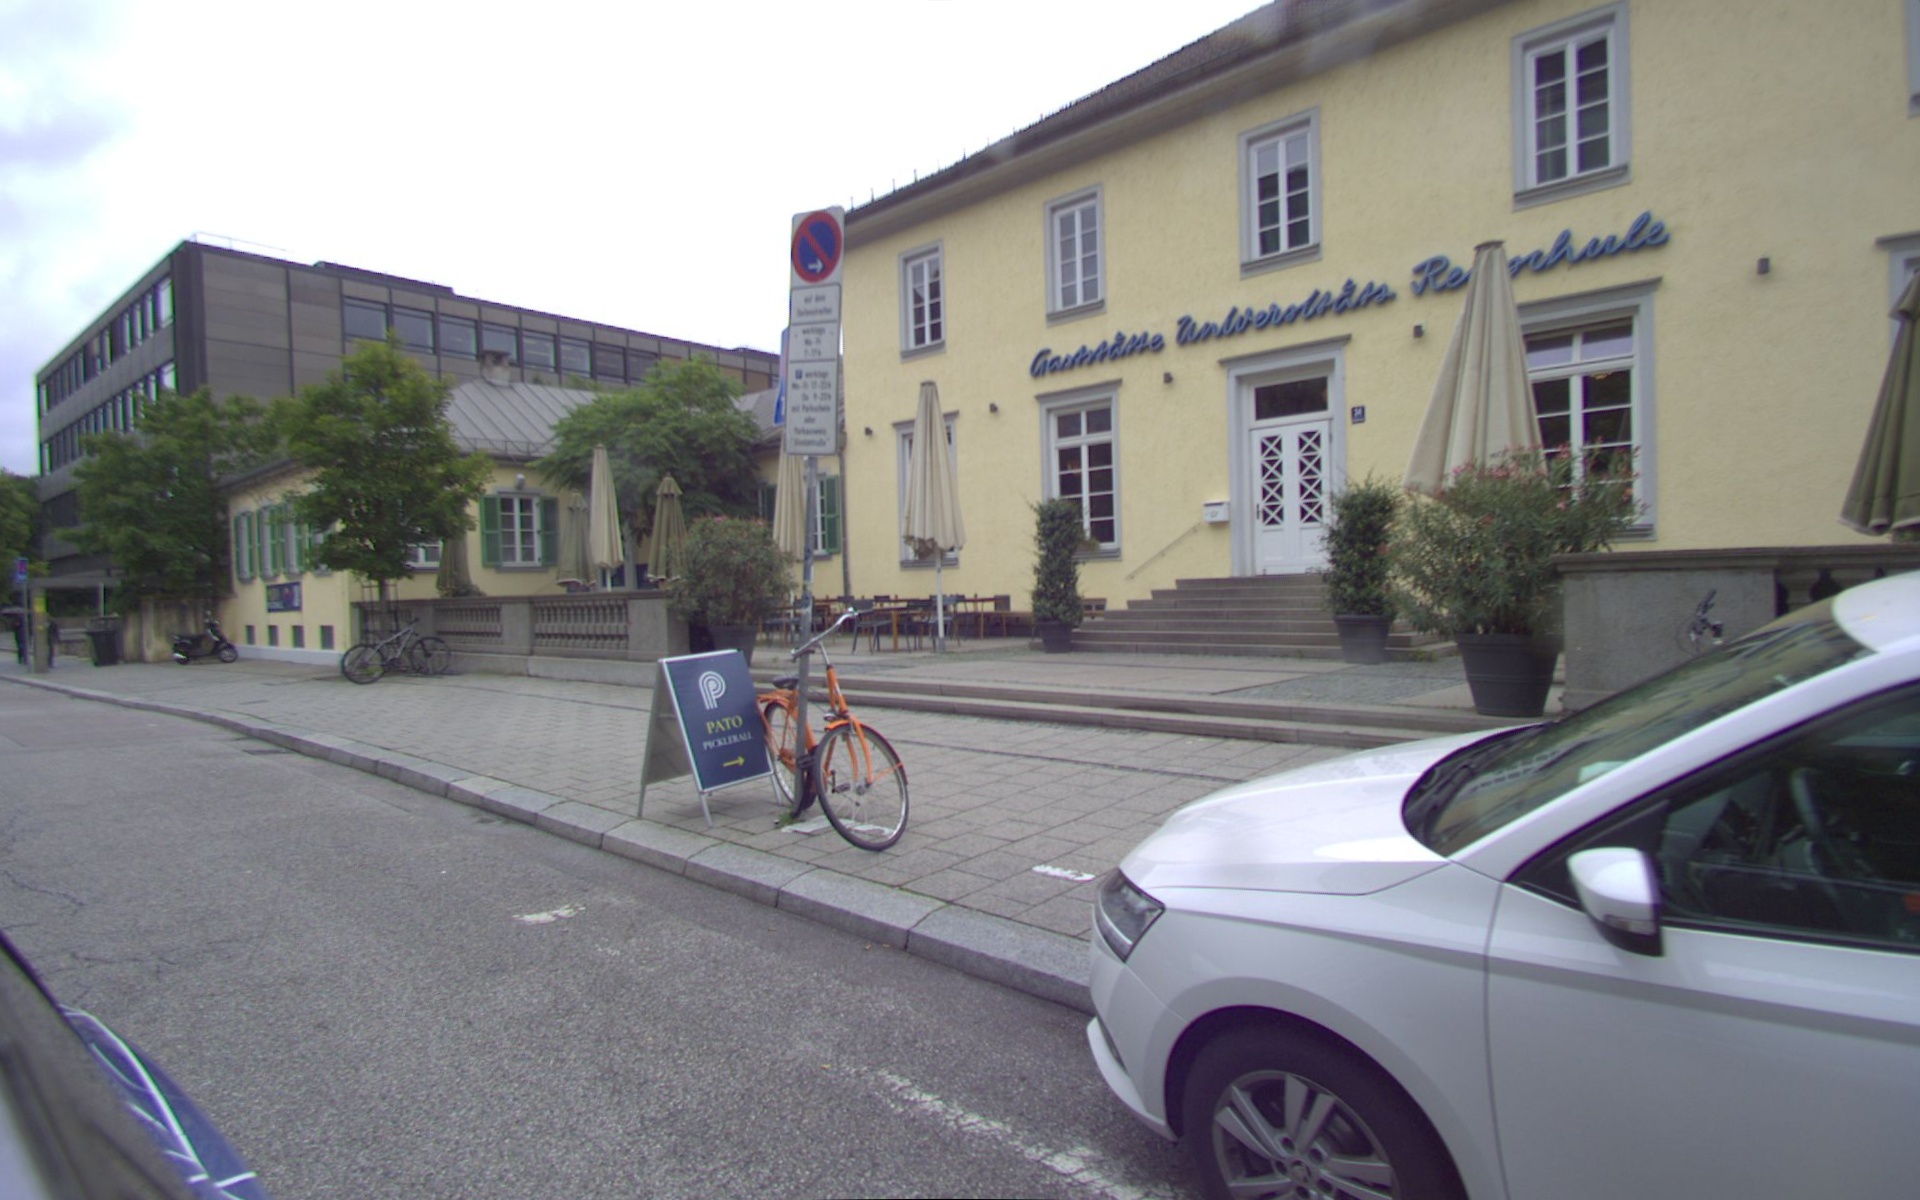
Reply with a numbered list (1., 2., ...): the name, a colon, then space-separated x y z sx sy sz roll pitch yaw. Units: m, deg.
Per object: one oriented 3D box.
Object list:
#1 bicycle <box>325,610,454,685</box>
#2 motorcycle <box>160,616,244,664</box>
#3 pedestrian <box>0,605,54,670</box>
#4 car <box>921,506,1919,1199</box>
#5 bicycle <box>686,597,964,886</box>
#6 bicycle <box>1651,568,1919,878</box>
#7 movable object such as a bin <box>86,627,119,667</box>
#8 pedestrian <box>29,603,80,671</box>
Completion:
1. bicycle: -10.030 0.808 17.855 0.466 1.041 1.824 -2 5 42
2. motorcycle: -20.273 1.071 27.086 1.642 1.120 0.591 -4 3 -6
3. pedestrian: -31.573 1.245 33.933 1.499 2.028 1.461 -1 2 39
4. car: 2.126 0.578 1.693 4.462 1.503 1.706 -1 2 44
5. bicycle: -0.832 0.700 5.825 0.769 1.379 1.698 -2 1 -39
6. bicycle: 4.171 0.496 4.928 0.563 1.271 1.567 -2 0 4
7. movable object such as a bin: -24.852 1.354 29.327 0.459 1.117 0.607 -1 2 39
8. pedestrian: -28.348 1.153 31.683 0.913 2.028 0.965 -1 2 39
